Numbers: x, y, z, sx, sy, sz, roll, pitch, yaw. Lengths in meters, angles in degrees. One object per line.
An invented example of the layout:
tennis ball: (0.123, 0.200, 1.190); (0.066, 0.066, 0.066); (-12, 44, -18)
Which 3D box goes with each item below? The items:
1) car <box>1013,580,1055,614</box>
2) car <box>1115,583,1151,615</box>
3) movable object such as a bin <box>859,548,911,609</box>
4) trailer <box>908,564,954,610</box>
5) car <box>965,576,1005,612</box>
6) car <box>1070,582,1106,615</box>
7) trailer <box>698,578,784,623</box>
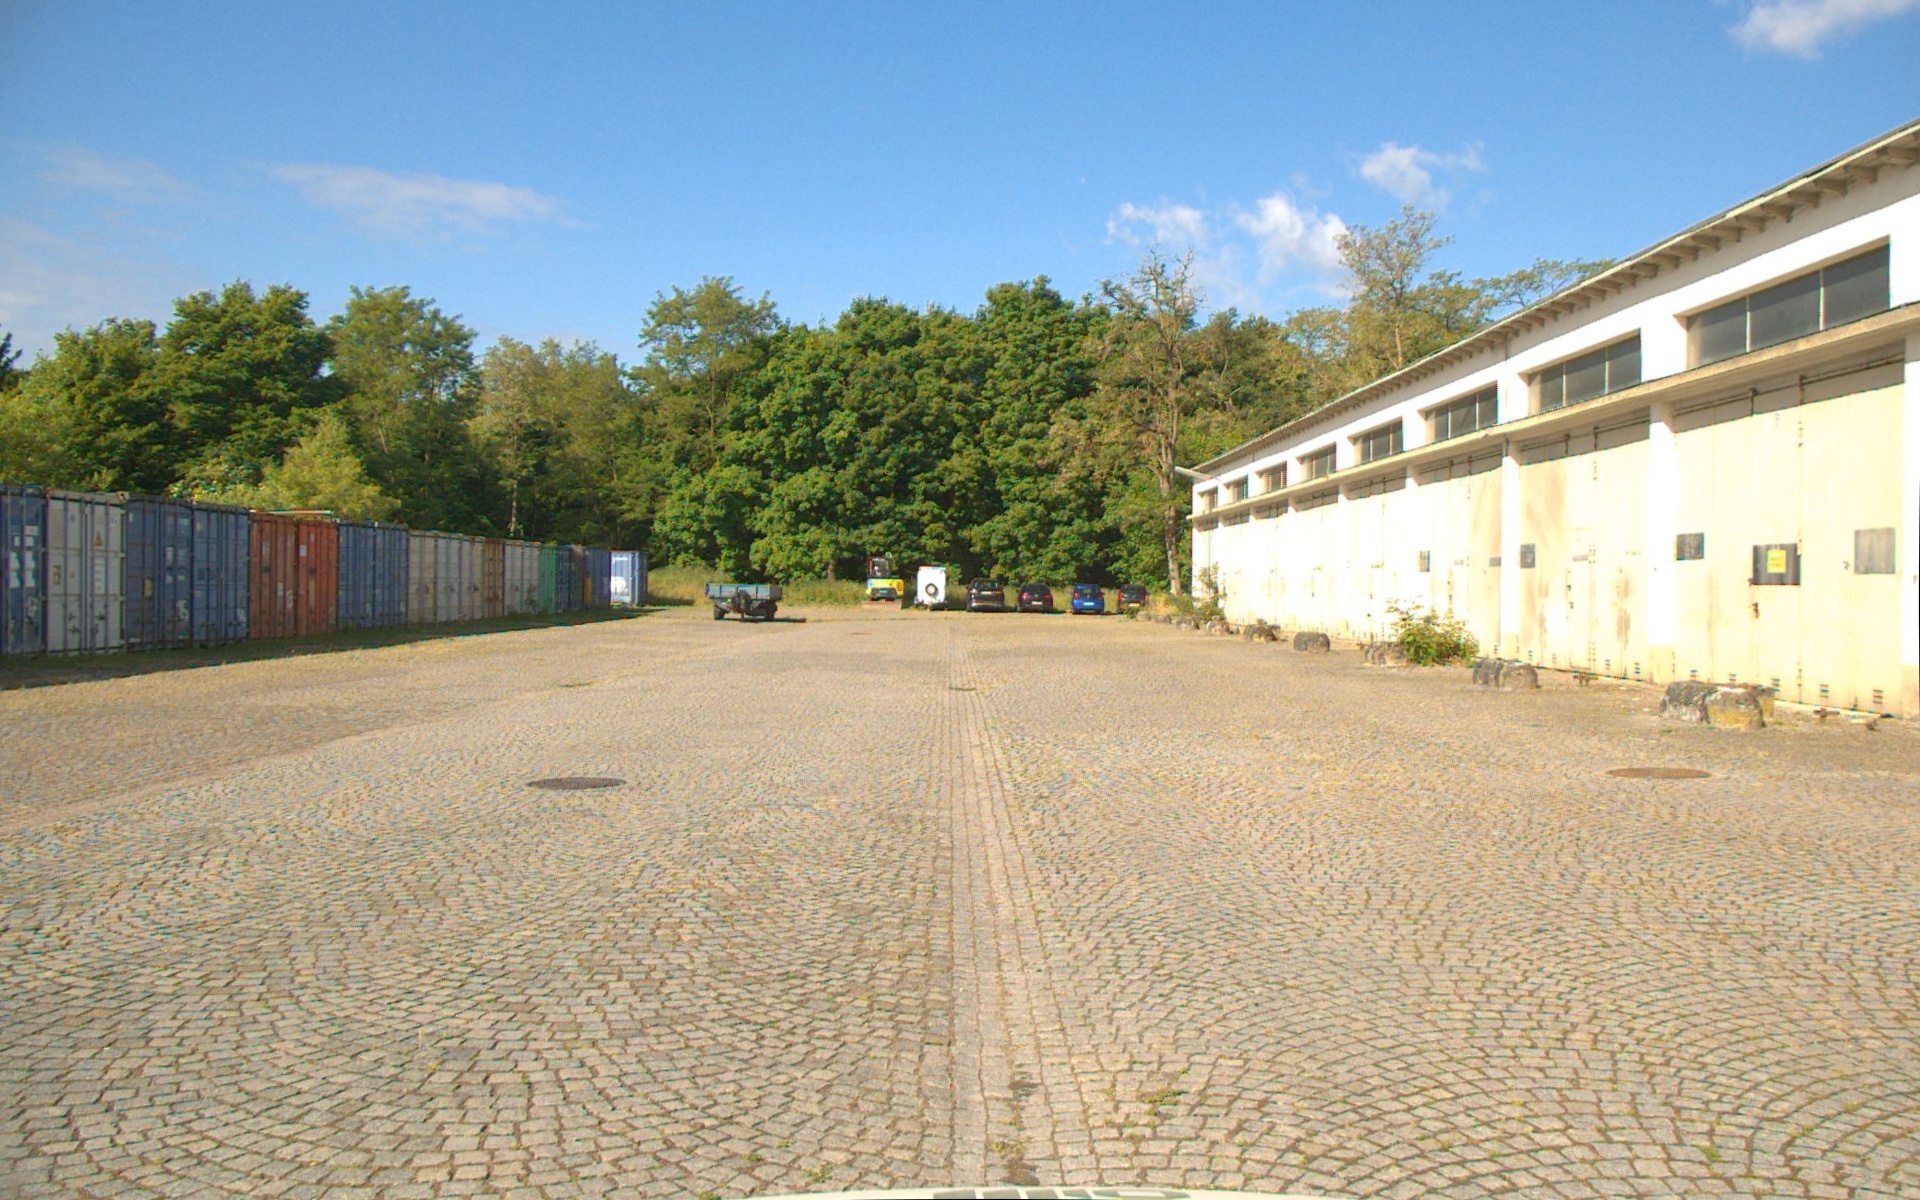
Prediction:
car: (3.641, -0.191, 82.078); (1.826, 1.495, 4.296); (2, 2, -1)
car: (8.744, -0.062, 83.488); (1.707, 1.461, 4.186); (2, 2, 6)
movable object such as a bin: (-3.789, -1.148, 84.588); (2.259, 2.947, 5.752); (2, 2, 0)
trailer: (-1.458, -0.712, 84.025); (2.148, 2.131, 5.751); (2, 2, -1)
car: (1.206, -0.312, 81.680); (1.826, 1.616, 4.296); (2, 2, -1)
car: (6.353, -0.110, 82.049); (1.707, 1.461, 4.186); (2, 2, 5)
trailer: (-8.380, -0.024, 63.856); (2.651, 1.491, 6.246); (2, 1, -2)
